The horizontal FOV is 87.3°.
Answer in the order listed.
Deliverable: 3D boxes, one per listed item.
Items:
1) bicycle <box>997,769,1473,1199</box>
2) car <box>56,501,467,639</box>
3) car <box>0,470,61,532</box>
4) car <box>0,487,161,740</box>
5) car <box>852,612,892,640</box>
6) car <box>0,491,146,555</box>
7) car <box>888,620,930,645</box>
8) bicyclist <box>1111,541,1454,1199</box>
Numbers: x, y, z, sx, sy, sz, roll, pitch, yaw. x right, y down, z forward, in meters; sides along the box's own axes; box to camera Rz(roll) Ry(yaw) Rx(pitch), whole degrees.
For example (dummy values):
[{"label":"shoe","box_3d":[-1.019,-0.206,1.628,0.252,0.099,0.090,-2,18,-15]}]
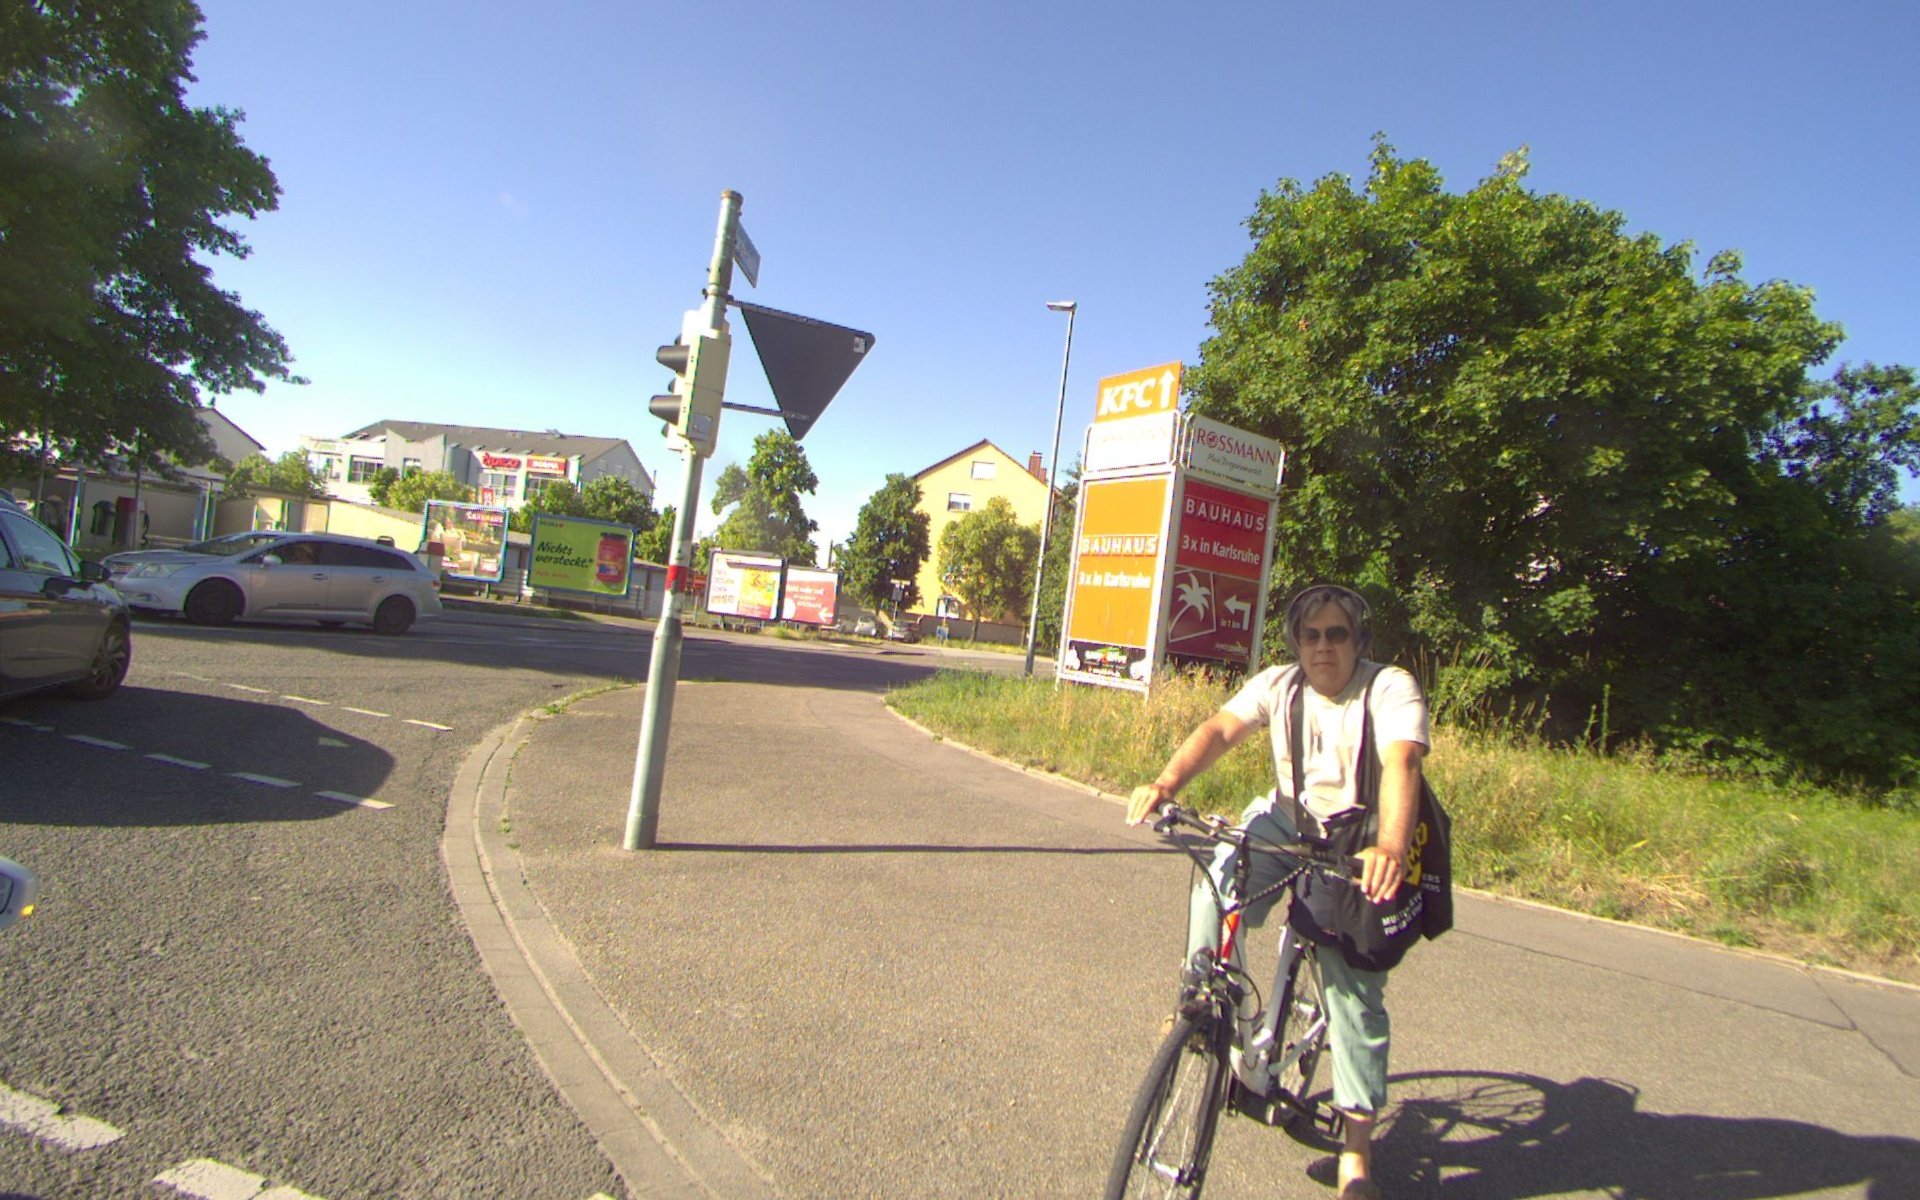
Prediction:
[{"label":"bicycle","box_3d":[0.839,1.117,2.602,0.523,1.090,1.861,3,1,37]},{"label":"car","box_3d":[-10.431,-0.341,15.556,1.810,1.506,4.888,5,-2,25]},{"label":"car","box_3d":[-26.033,-2.804,26.336,1.731,1.391,3.998,7,-4,-10]},{"label":"car","box_3d":[-6.638,-0.033,6.044,1.746,1.508,4.266,8,-2,-25]},{"label":"car","box_3d":[-5.960,1.791,68.470,1.670,1.641,3.885,6,-1,10]},{"label":"car","box_3d":[-33.751,-2.867,38.165,1.962,1.624,4.008,6,-4,12]},{"label":"car","box_3d":[-3.377,2.187,66.992,1.701,1.481,3.884,6,-1,12]},{"label":"bicyclist","box_3d":[0.850,0.717,2.572,0.535,1.656,0.805,3,0,36]}]
